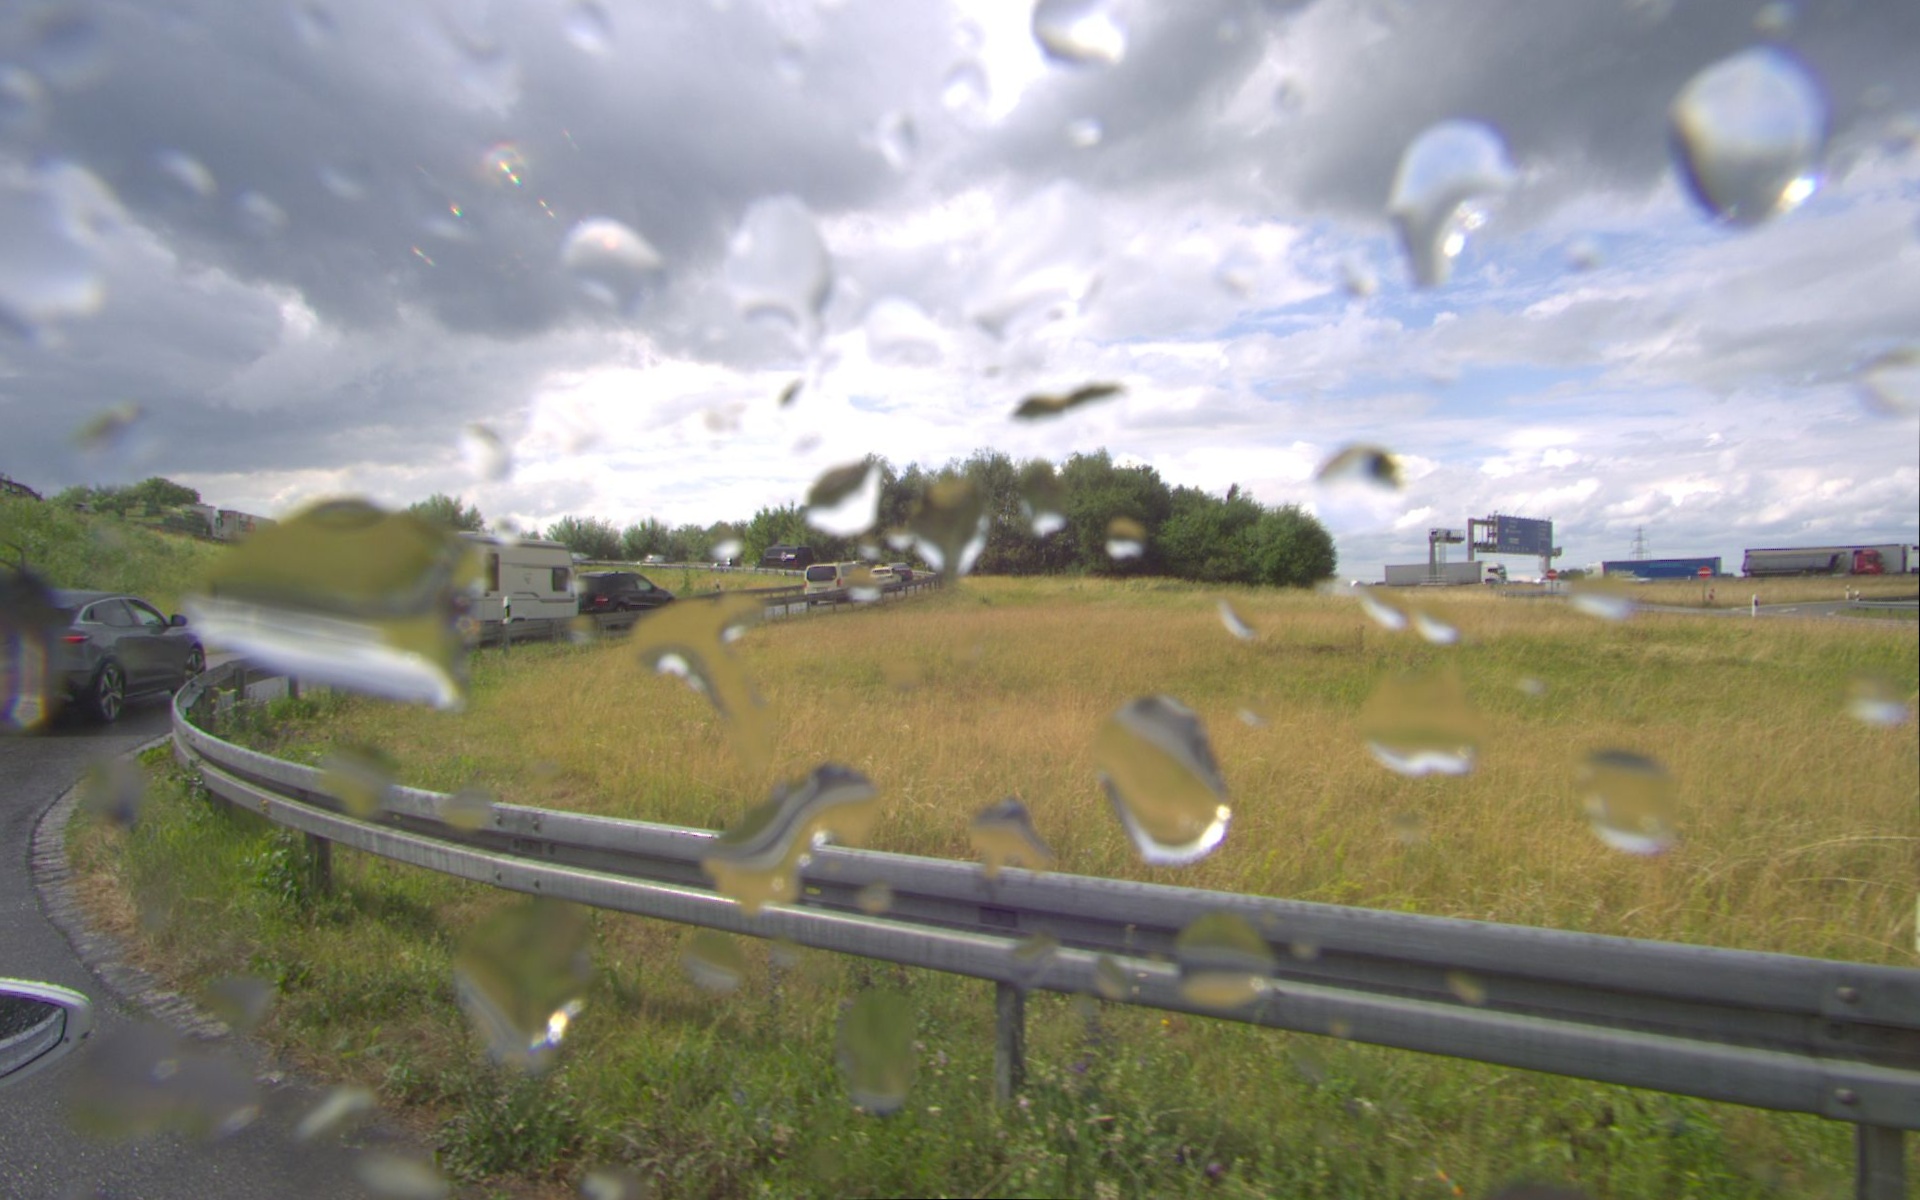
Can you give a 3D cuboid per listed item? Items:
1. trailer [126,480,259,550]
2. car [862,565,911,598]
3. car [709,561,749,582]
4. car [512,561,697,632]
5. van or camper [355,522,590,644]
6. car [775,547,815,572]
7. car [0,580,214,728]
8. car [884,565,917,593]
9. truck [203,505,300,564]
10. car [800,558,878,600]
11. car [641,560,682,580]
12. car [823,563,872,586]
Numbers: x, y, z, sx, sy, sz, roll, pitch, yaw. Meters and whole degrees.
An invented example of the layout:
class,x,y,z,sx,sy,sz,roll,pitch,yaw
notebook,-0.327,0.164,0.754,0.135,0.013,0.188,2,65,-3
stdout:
class,x,y,z,sx,sy,sz,roll,pitch,yaw
trailer,-67.285,-7.180,88.615,4.356,4.006,20.156,1,-1,-23
car,-4.385,-1.099,60.584,1.961,1.886,5.055,0,1,7
car,-23.301,-2.869,100.982,3.955,2.041,1.983,0,1,42
car,-10.986,-0.154,31.532,2.393,1.952,5.747,2,2,20
van or camper,-12.429,-0.451,26.169,2.392,2.766,5.995,2,1,11
car,-15.308,-3.701,92.671,1.978,2.039,3.967,1,-1,-39
car,-11.012,0.559,12.448,1.695,1.545,3.988,2,0,-20
car,-4.257,-1.472,70.712,1.962,1.886,5.054,0,1,-7
truck,-74.852,-6.692,106.463,4.403,4.561,19.316,1,-1,-23
car,-5.712,-0.989,48.073,1.963,1.886,5.050,0,1,15
car,-31.466,-3.188,105.478,3.940,2.041,1.990,3,2,31
car,-9.444,-2.073,83.598,1.646,1.808,5.016,-1,1,-38
